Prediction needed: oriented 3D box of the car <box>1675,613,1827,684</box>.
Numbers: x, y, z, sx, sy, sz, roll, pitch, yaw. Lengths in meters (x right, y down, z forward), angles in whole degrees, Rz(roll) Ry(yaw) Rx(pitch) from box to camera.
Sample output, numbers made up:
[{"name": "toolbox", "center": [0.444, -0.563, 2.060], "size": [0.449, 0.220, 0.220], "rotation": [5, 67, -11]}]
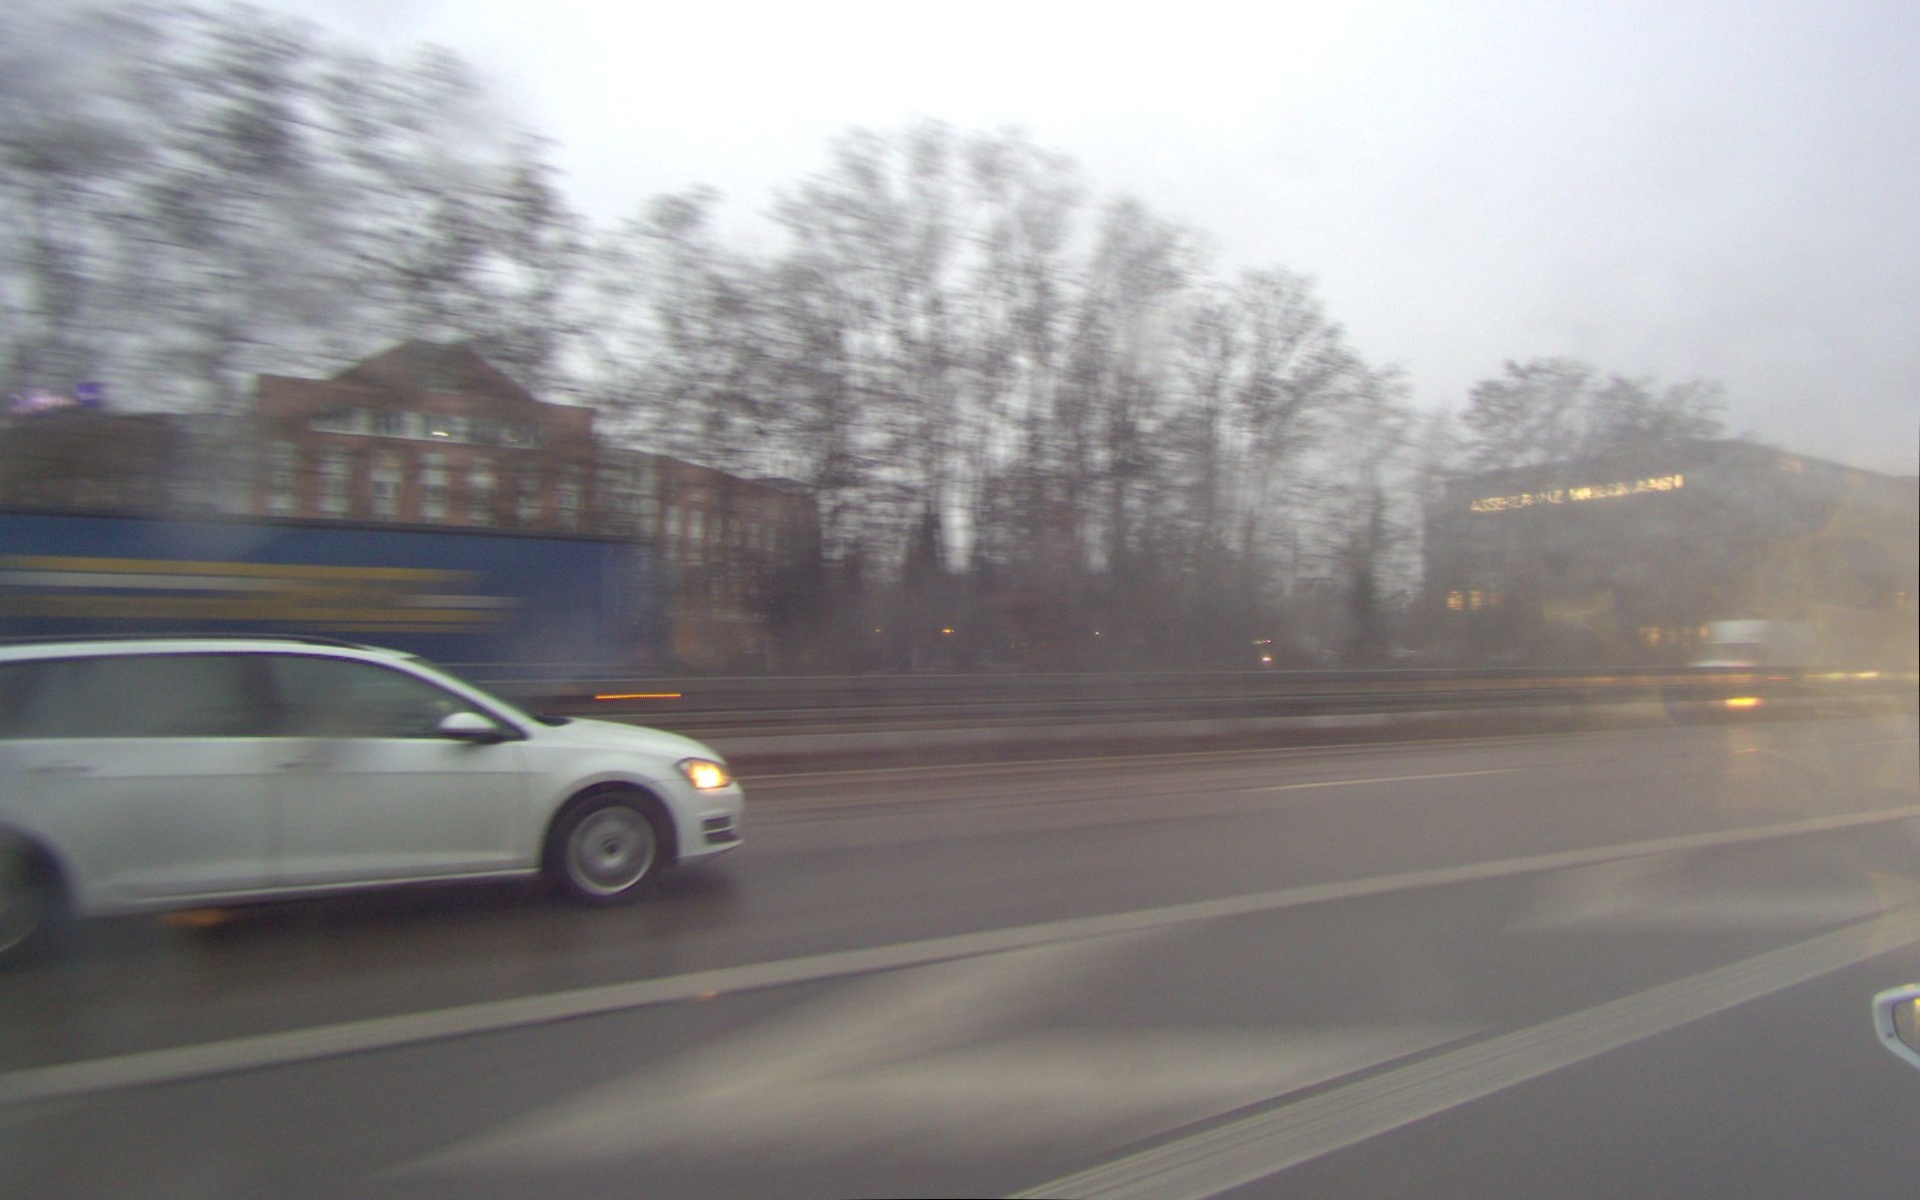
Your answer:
[{"name": "car", "center": [32.872, 1.995, 41.729], "size": [6.257, 2.767, 2.519], "rotation": [2, -1, -27]}]

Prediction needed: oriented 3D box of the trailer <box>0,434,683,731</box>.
[{"name": "trailer", "center": [-12.655, -0.164, 20.039], "size": [13.298, 4.912, 3.479], "rotation": [2, -1, -25]}]

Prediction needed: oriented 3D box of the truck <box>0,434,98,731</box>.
[{"name": "truck", "center": [-19.066, -0.365, 16.976], "size": [5.950, 4.912, 3.479], "rotation": [2, -1, -25]}]

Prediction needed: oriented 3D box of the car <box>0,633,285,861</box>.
[{"name": "car", "center": [-7.806, 1.028, 7.235], "size": [4.641, 1.554, 1.770], "rotation": [1, -3, -27]}]

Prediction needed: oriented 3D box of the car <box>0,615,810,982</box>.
[{"name": "car", "center": [-3.398, 0.907, 5.633], "size": [4.723, 1.540, 1.942], "rotation": [1, -3, -26]}]
